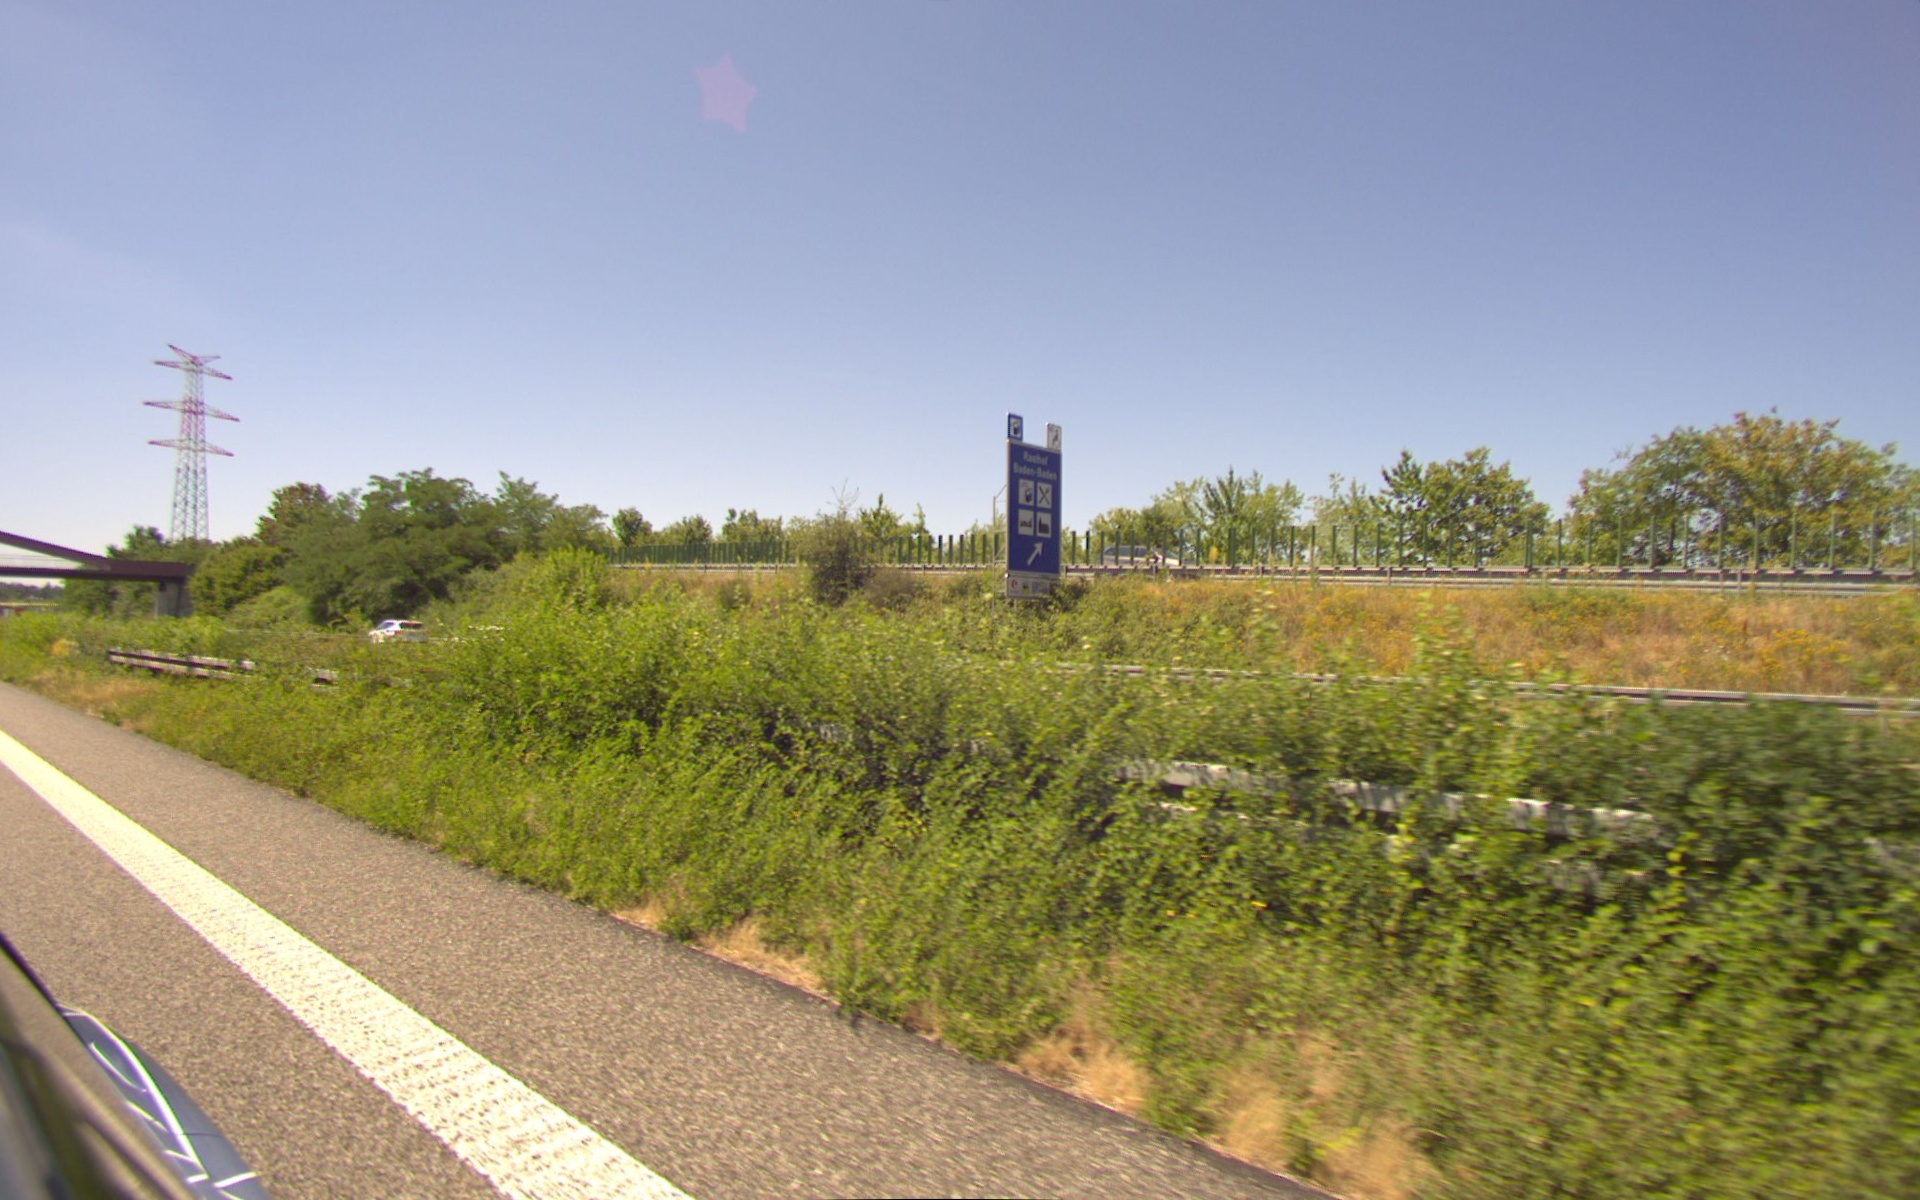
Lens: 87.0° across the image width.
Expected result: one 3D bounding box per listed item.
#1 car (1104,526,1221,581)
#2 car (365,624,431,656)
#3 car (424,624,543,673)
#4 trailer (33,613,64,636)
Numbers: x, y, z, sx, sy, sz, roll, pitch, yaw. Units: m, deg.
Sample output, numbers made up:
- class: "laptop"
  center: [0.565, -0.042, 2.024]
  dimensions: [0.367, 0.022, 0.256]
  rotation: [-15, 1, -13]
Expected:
- class: "car"
  center: [7.398, -1.658, 37.217]
  dimensions: [1.701, 1.807, 4.004]
  rotation: [-1, 0, -43]
- class: "car"
  center: [-29.723, 2.100, 53.478]
  dimensions: [4.149, 1.608, 1.746]
  rotation: [-1, -2, 41]
- class: "car"
  center: [-17.592, 1.731, 37.253]
  dimensions: [5.493, 1.695, 1.812]
  rotation: [-1, -2, 40]
- class: "trailer"
  center: [-101.164, 2.724, 112.326]
  dimensions: [4.181, 2.538, 1.973]
  rotation: [-1, -2, 41]
